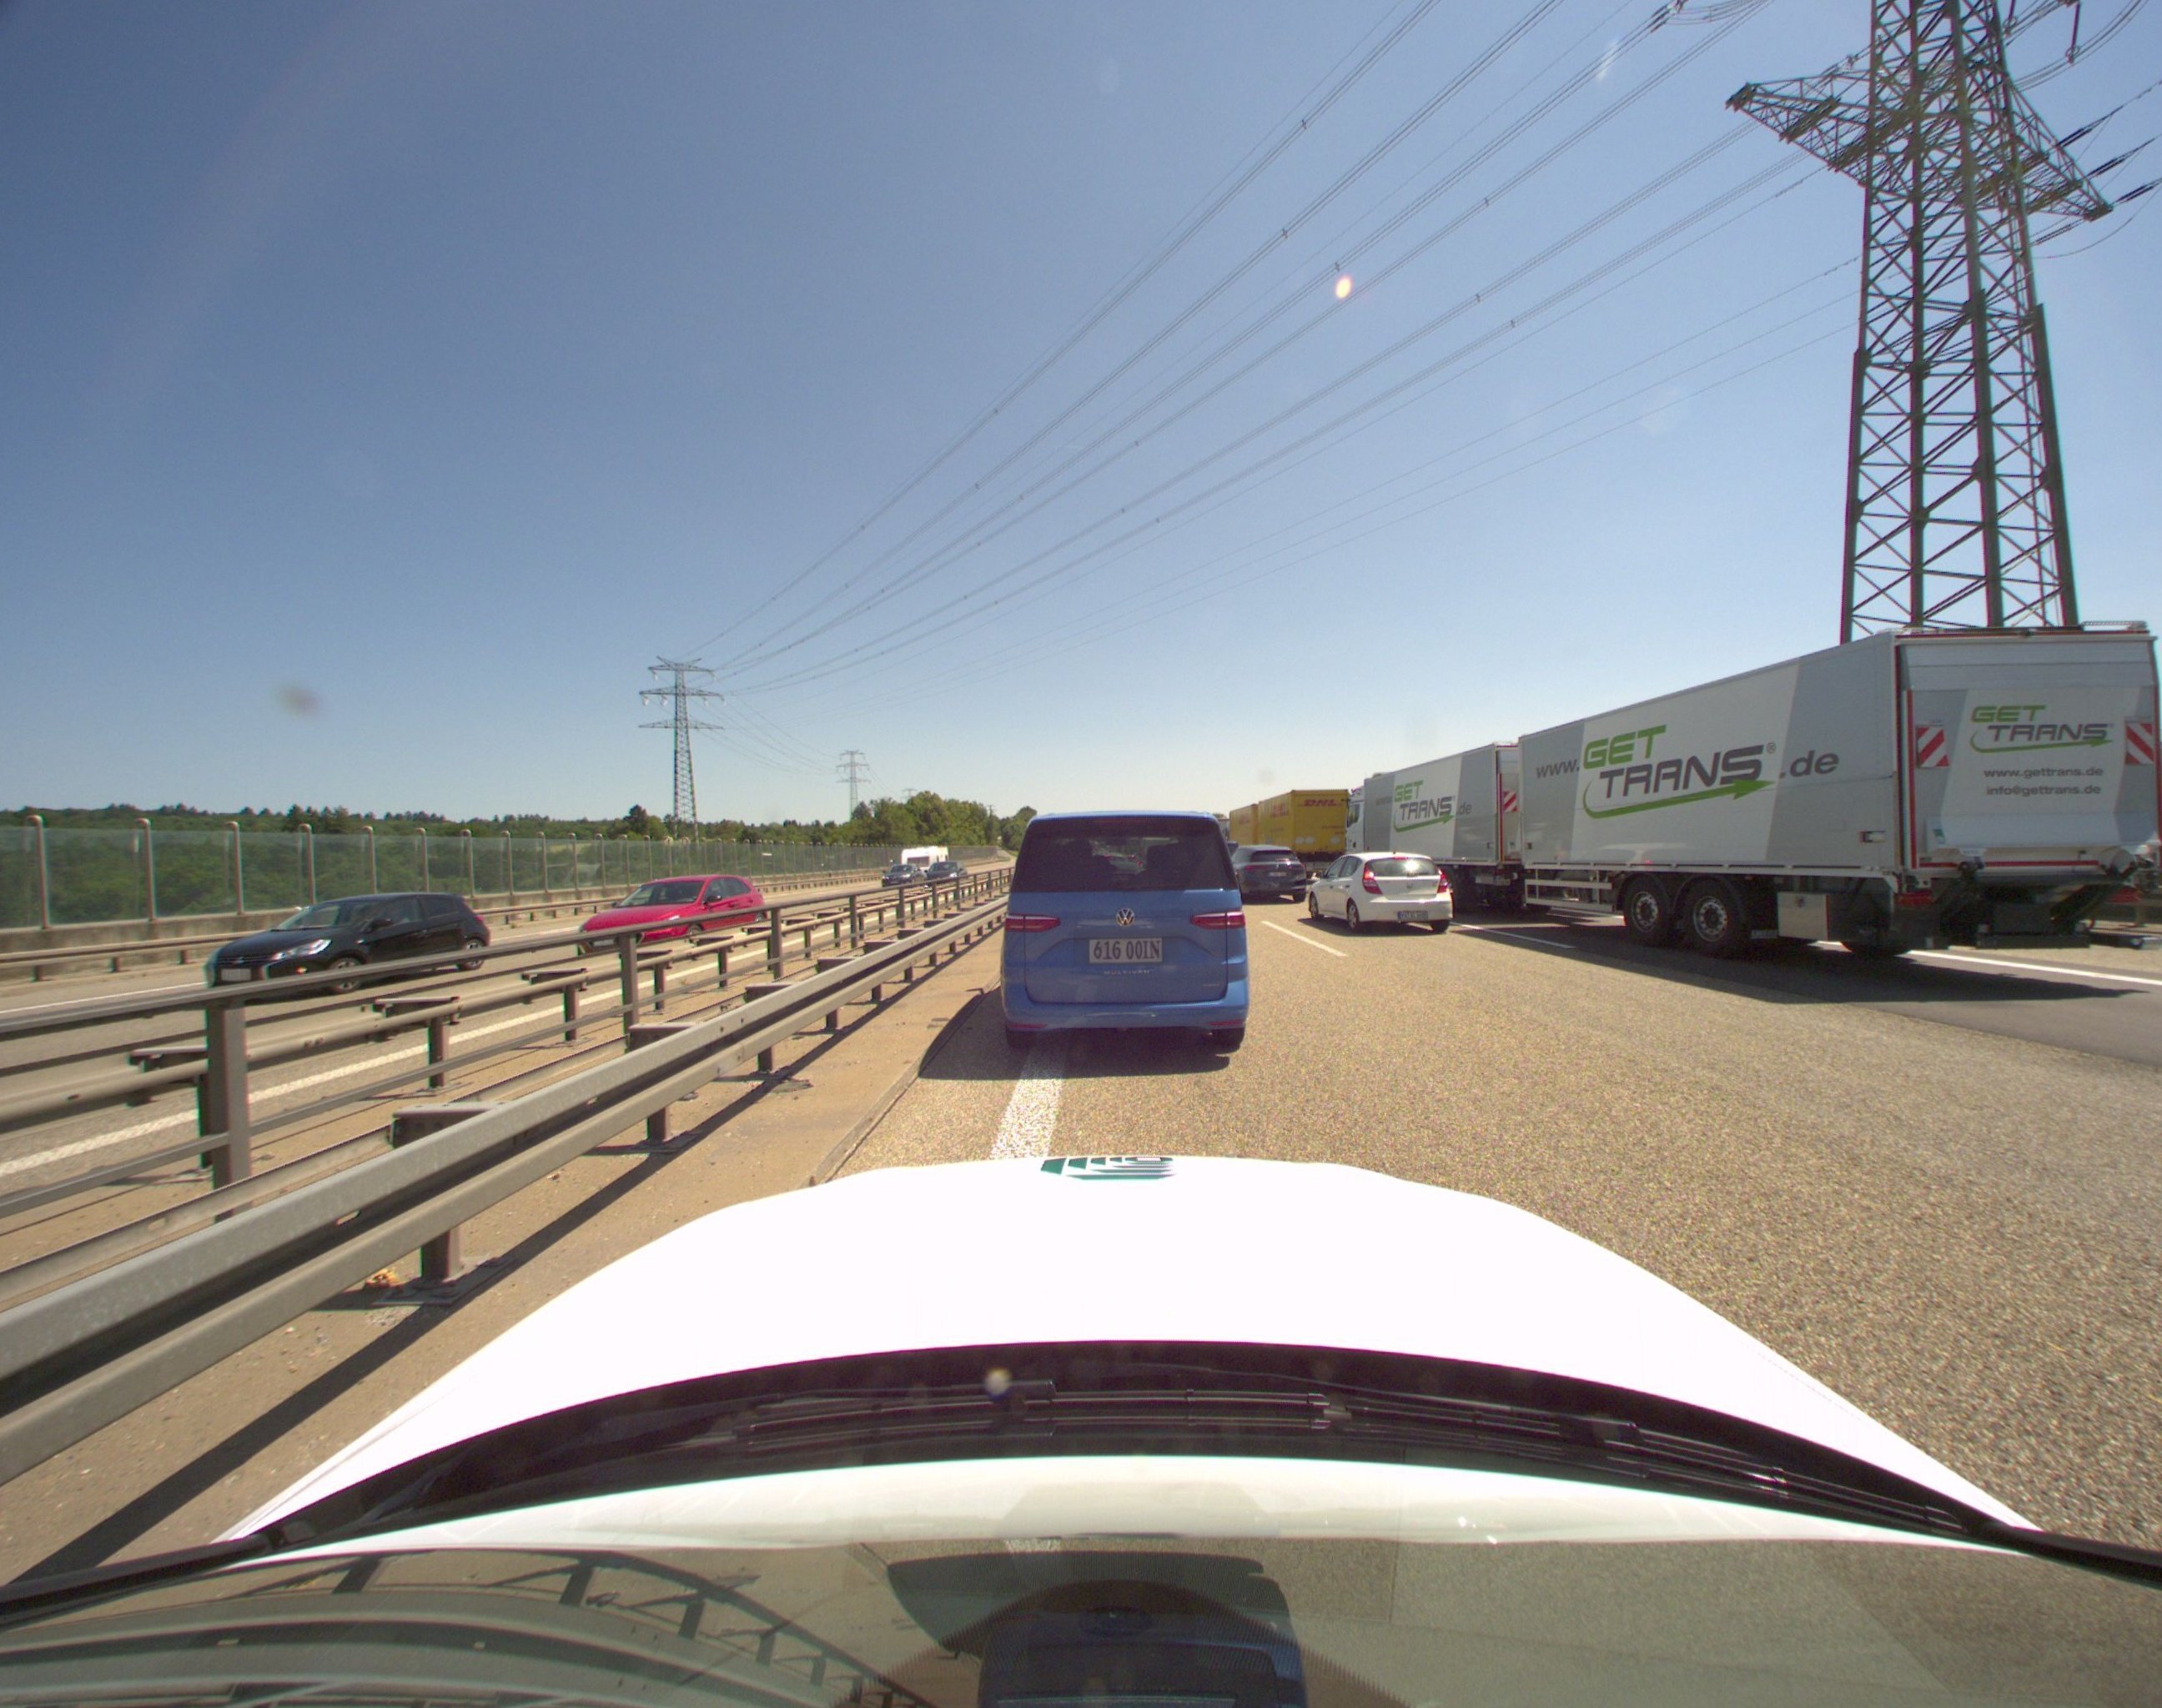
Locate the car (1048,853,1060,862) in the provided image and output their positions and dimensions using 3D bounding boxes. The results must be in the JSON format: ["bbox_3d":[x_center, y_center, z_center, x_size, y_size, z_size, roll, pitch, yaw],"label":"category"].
[{"bbox_3d":[-5.038,0.724,153.839,1.860,1.531,4.426,-5,0,2],"label":"car"}]

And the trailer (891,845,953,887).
[{"bbox_3d":[-10.608,0.767,55.017,2.484,2.549,6.777,-3,0,2],"label":"trailer"}]

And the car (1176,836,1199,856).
[{"bbox_3d":[10.899,-0.772,83.798,1.986,2.014,4.002,-1,0,2],"label":"car"}]

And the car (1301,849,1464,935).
[{"bbox_3d":[5.859,0.660,16.414,1.782,1.455,4.295,-1,0,2],"label":"car"}]

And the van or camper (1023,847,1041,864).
[{"bbox_3d":[-9.006,0.270,149.298,2.413,3.023,7.030,-4,0,2],"label":"van or camper"}]

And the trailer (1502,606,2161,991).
[{"bbox_3d":[9.562,-0.555,11.966,2.688,3.700,8.017,-2,0,1],"label":"trailer"}]

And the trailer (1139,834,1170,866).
[{"bbox_3d":[7.217,-0.355,81.142,2.559,2.990,10.668,-1,0,2],"label":"trailer"}]

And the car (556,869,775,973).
[{"bbox_3d":[-7.383,1.103,15.007,1.784,1.478,3.991,-4,0,2],"label":"car"}]

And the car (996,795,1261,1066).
[{"bbox_3d":[0.394,0.532,7.672,1.813,1.857,4.076,-1,0,2],"label":"car"}]

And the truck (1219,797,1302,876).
[{"bbox_3d":[10.612,-0.918,49.465,2.826,4.243,11.013,-1,0,1],"label":"truck"}]

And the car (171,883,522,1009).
[{"bbox_3d":[-11.869,1.382,13.689,1.723,1.491,4.421,-4,0,1],"label":"car"}]

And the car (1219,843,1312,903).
[{"bbox_3d":[5.559,0.530,25.066,1.955,1.644,4.295,-1,0,2],"label":"car"}]

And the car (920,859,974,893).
[{"bbox_3d":[-6.542,1.047,40.093,1.662,1.448,4.003,-5,0,3],"label":"car"}]

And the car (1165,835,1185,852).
[{"bbox_3d":[11.657,-1.250,100.940,1.986,2.013,4.463,-2,0,2],"label":"car"}]

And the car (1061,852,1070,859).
[{"bbox_3d":[-3.817,0.344,195.406,1.861,1.699,4.431,-4,0,1],"label":"car"}]

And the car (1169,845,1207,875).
[{"bbox_3d":[6.804,0.354,52.057,1.986,1.816,4.002,-1,0,2],"label":"car"}]

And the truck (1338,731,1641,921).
[{"bbox_3d":[9.757,-0.561,21.492,2.647,3.648,11.013,-2,0,1],"label":"truck"}]

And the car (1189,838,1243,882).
[{"bbox_3d":[6.451,0.268,39.398,1.955,1.993,4.295,-1,0,2],"label":"car"}]

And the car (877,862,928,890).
[{"bbox_3d":[-10.729,1.297,49.266,1.769,1.407,4.684,-4,0,2],"label":"car"}]

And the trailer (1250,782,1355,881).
[{"bbox_3d":[10.442,-0.949,39.399,2.854,4.239,9.015,-1,0,2],"label":"trailer"}]

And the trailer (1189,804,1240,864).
[{"bbox_3d":[10.760,-1.528,66.863,2.627,4.516,11.305,-1,0,2],"label":"trailer"}]

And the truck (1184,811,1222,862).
[{"bbox_3d":[11.028,-1.507,74.155,2.657,4.484,6.852,-1,0,2],"label":"truck"}]
